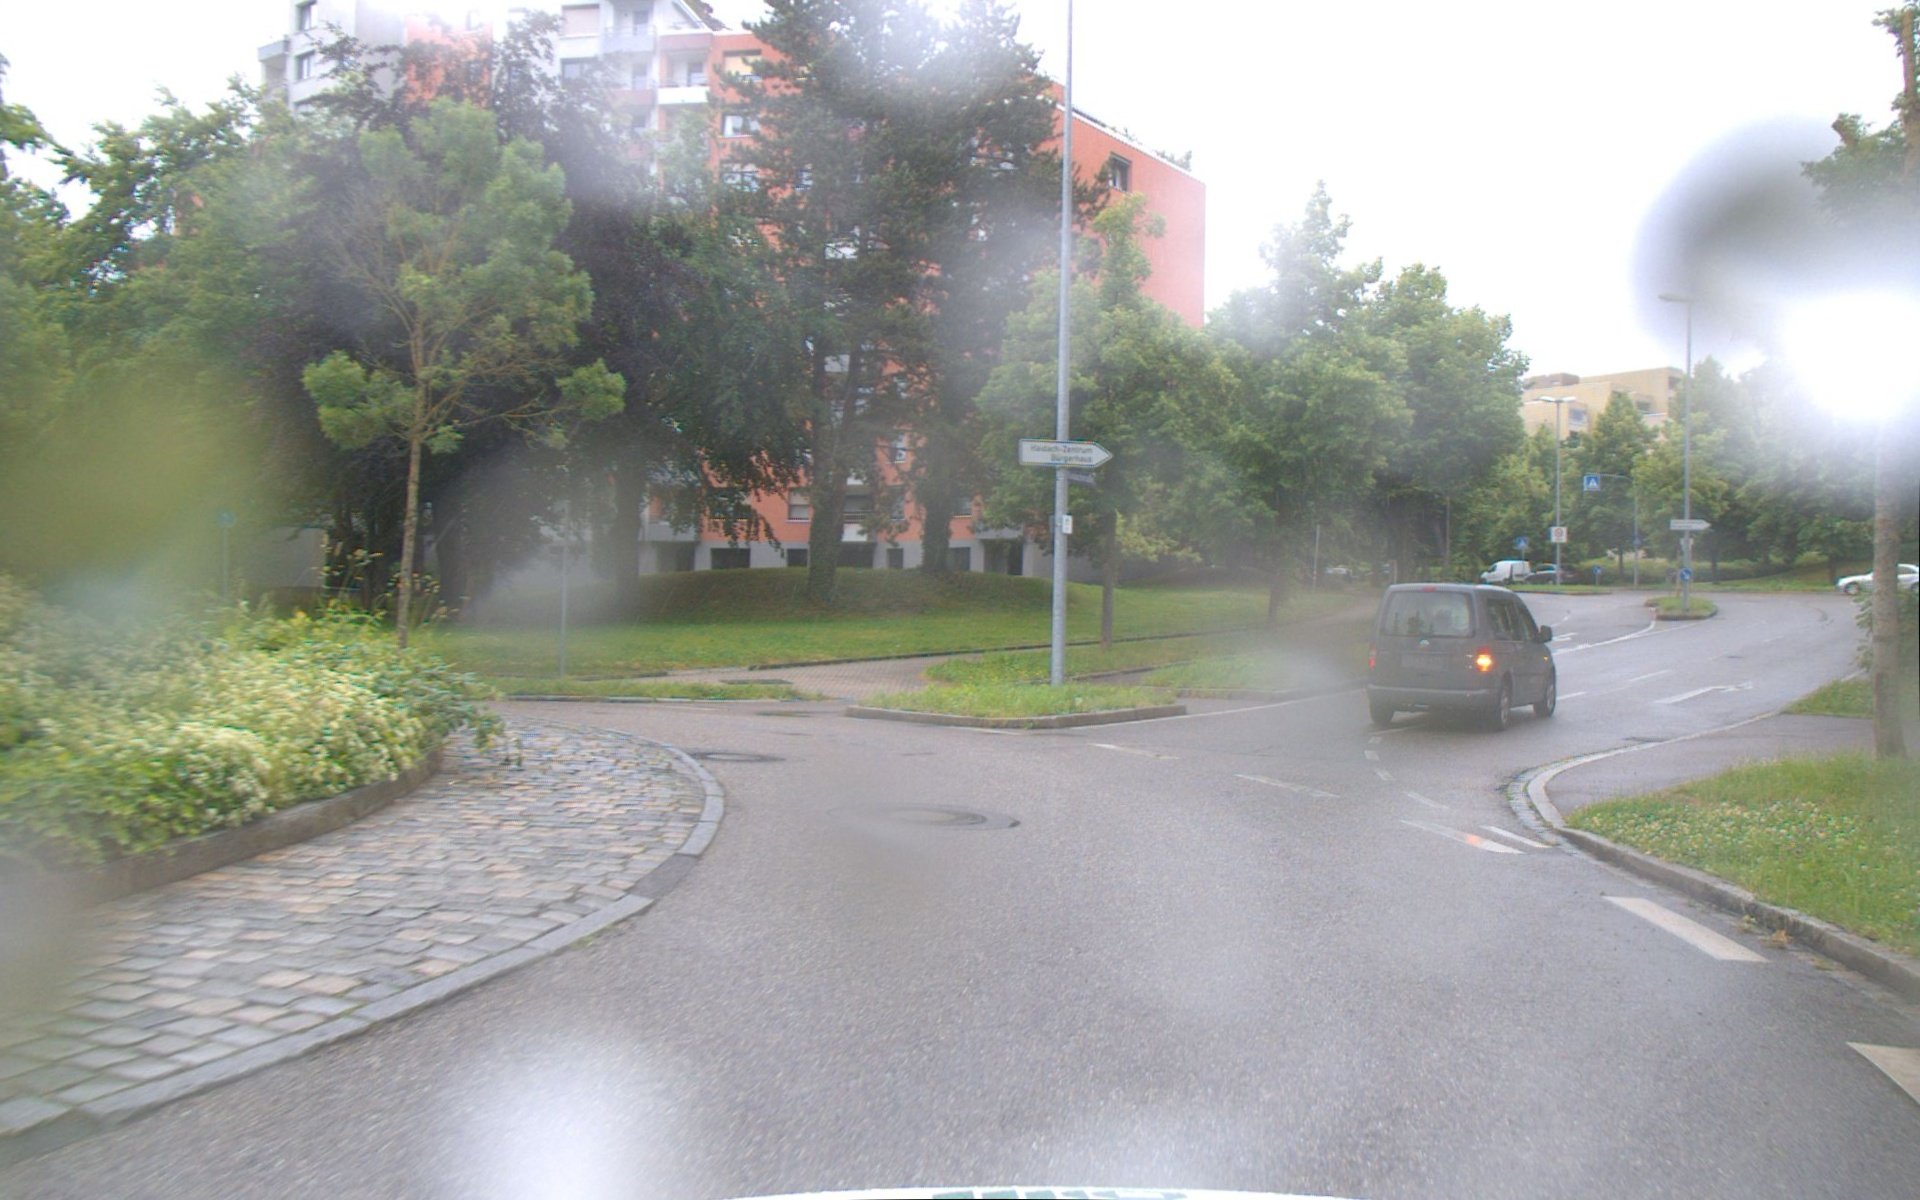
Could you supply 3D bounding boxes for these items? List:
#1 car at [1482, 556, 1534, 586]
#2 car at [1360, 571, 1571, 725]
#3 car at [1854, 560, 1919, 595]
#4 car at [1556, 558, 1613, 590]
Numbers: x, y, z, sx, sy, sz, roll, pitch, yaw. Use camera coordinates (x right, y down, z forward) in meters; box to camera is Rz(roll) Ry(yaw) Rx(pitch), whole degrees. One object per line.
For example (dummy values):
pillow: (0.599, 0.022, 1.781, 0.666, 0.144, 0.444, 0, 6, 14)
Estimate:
car: (36.990, -1.927, 111.717, 1.954, 1.906, 3.997, 1, 0, -3)
car: (6.884, 0.550, 22.273, 1.883, 1.832, 3.782, 0, 2, 31)
car: (43.792, -1.045, 76.911, 3.911, 1.593, 1.883, 1, -1, 28)
car: (38.864, -1.596, 103.001, 1.810, 1.906, 3.857, 1, 0, -5)
